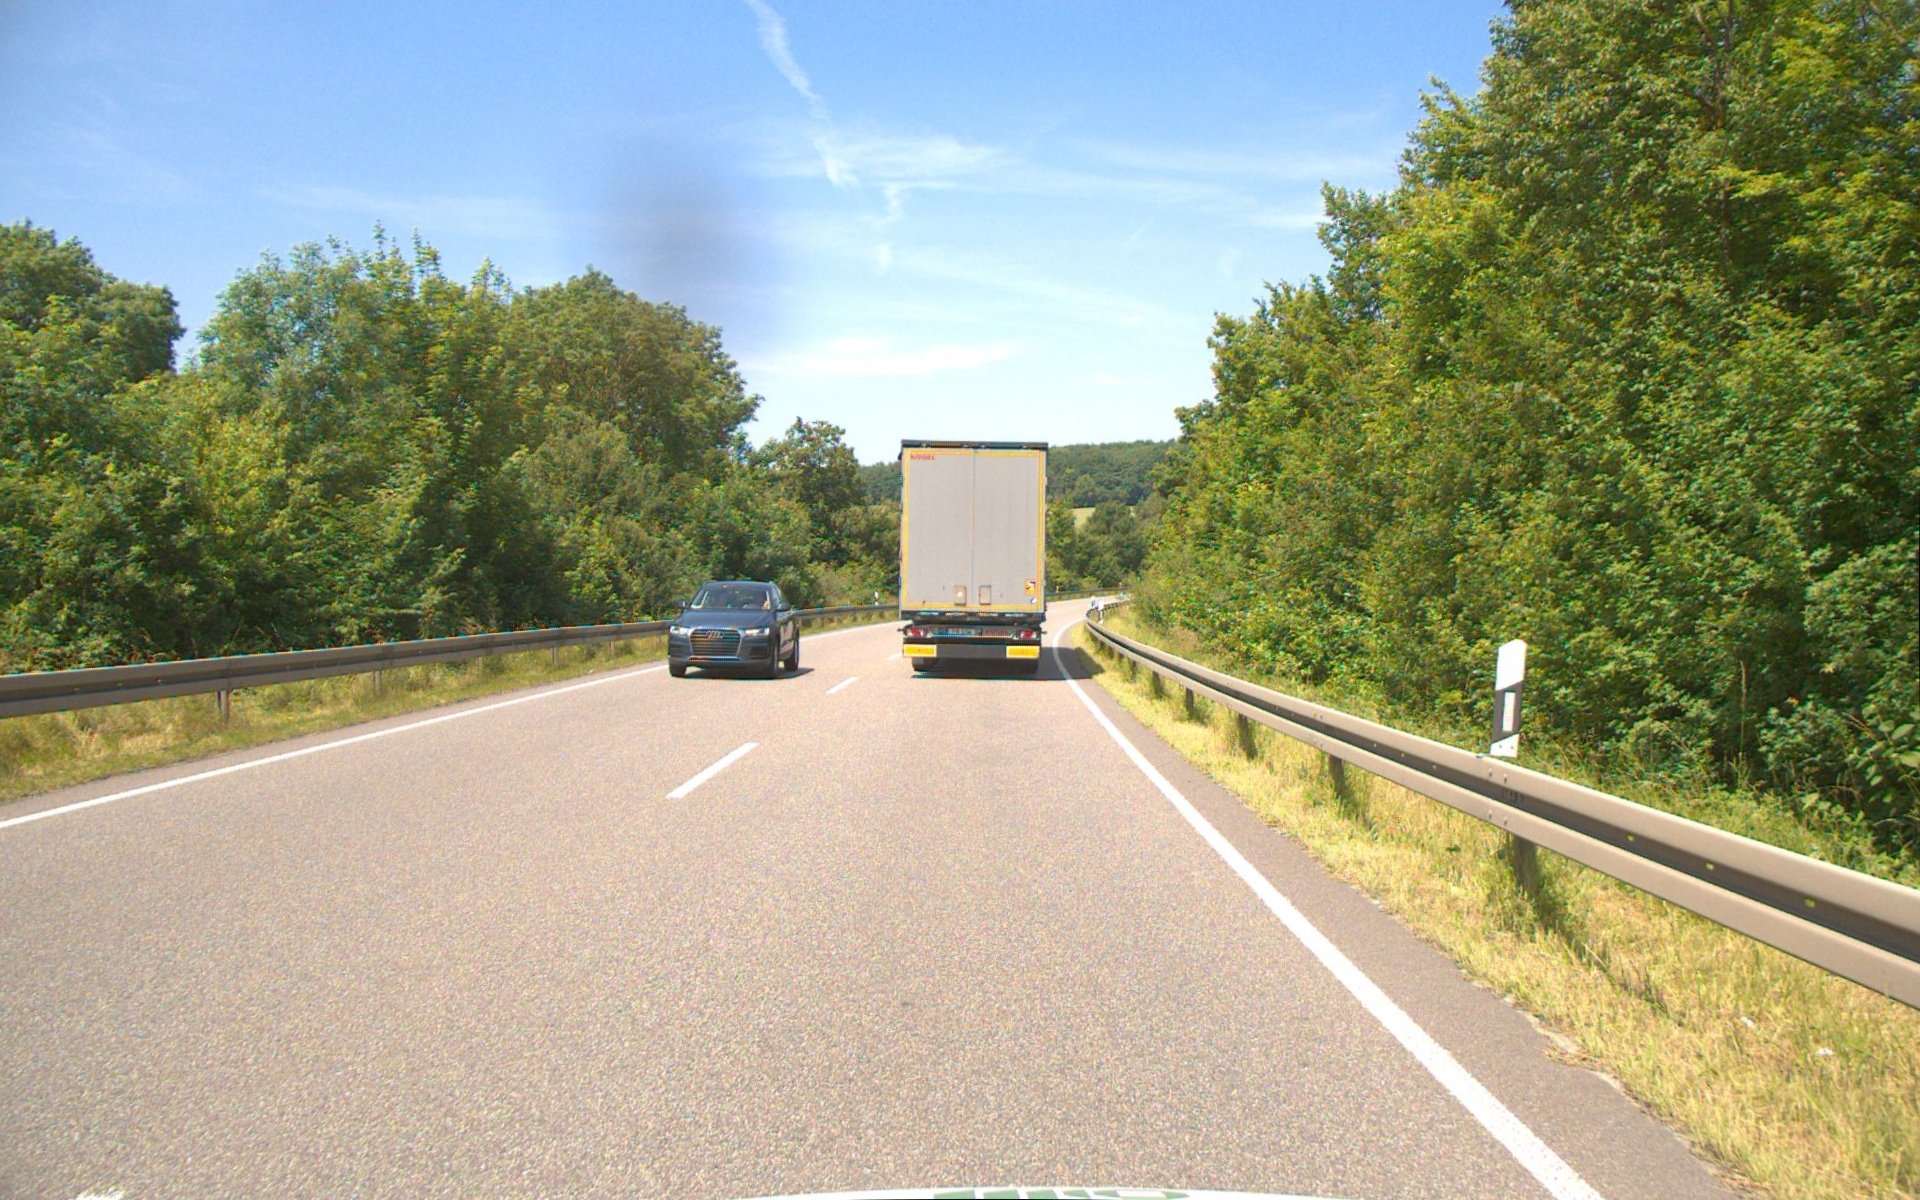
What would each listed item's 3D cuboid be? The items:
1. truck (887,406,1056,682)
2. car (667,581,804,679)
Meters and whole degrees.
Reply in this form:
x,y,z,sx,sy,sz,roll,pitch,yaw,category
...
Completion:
x,y,z,sx,sy,sz,roll,pitch,yaw,category
0.361,-0.993,33.906,2.759,4.611,11.770,1,0,2,truck
-3.800,0.474,28.627,1.825,1.554,3.890,1,0,0,car
